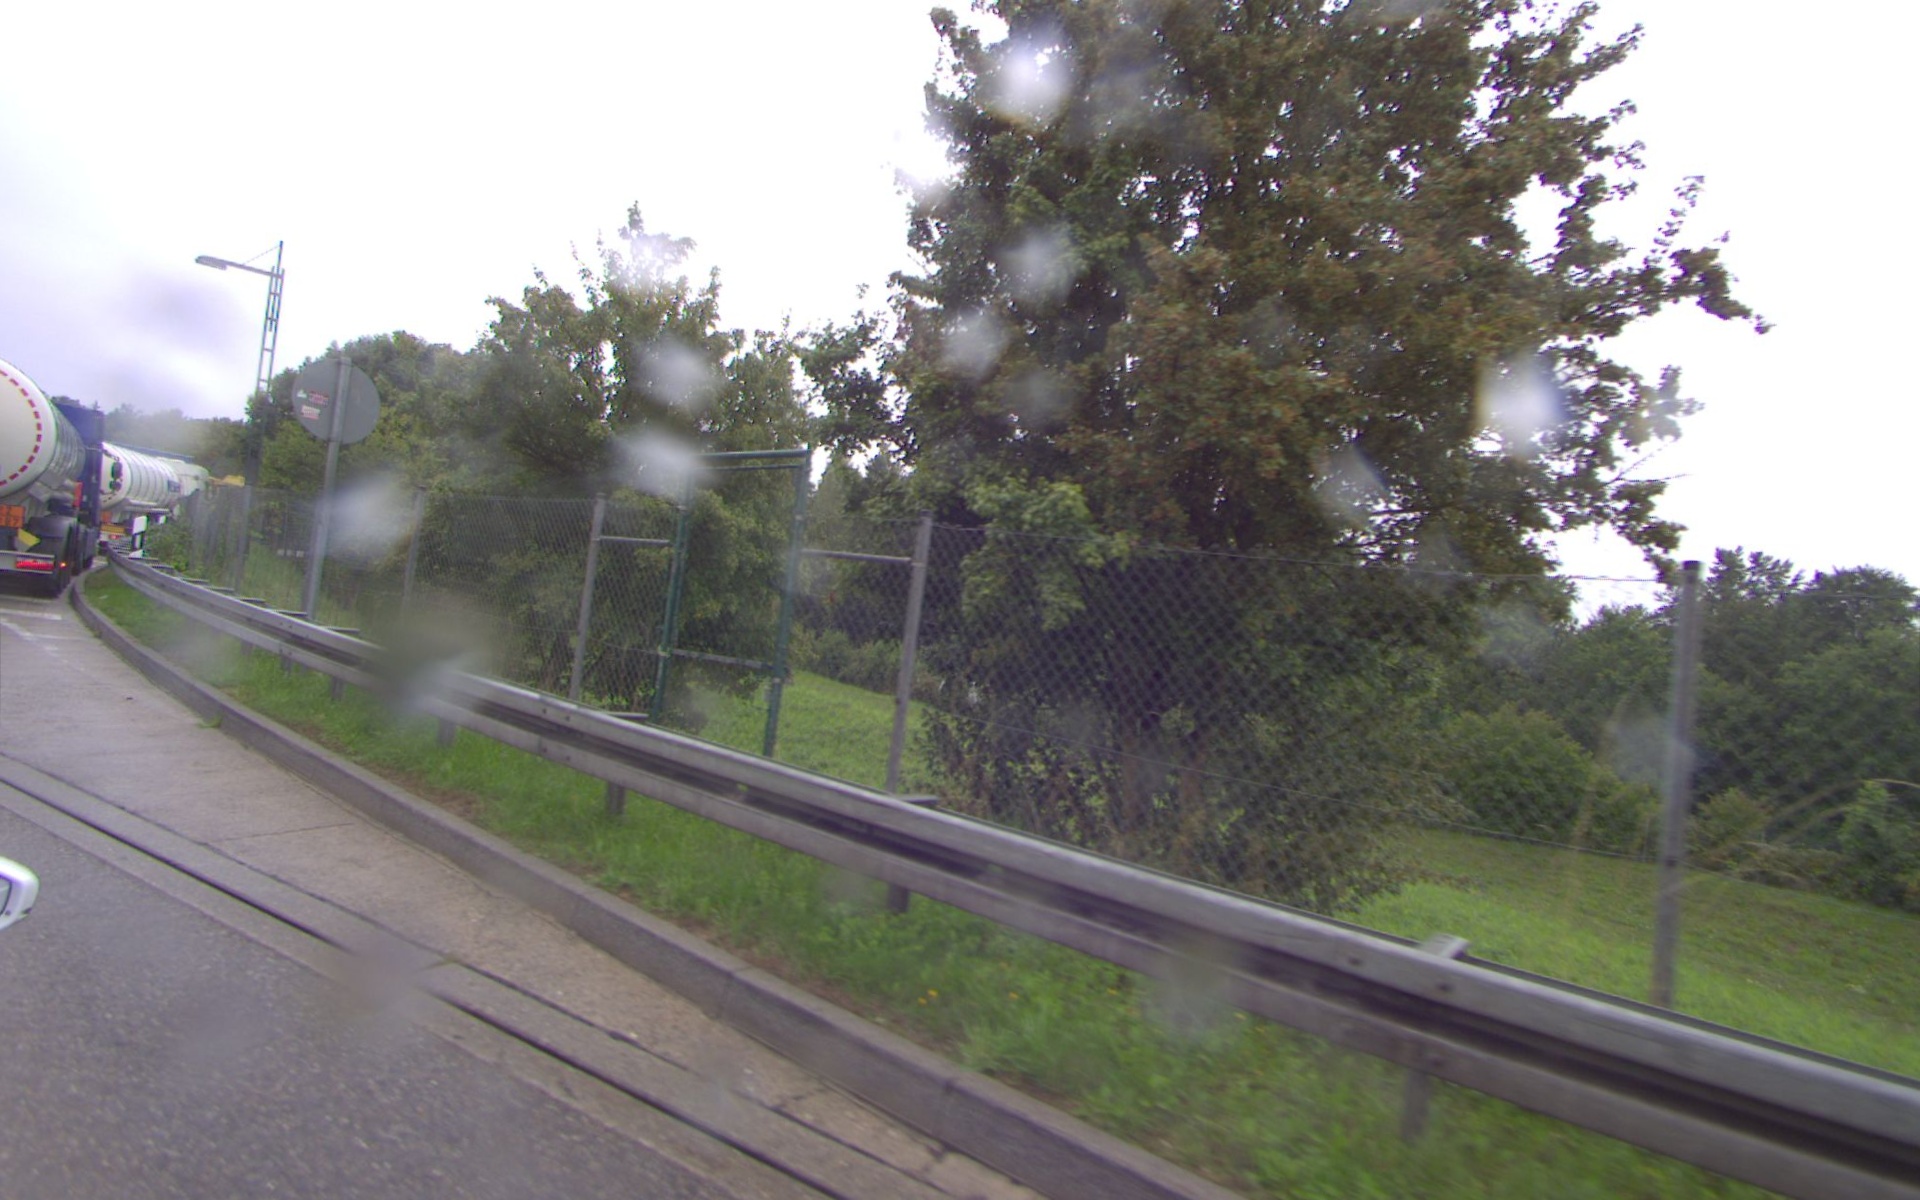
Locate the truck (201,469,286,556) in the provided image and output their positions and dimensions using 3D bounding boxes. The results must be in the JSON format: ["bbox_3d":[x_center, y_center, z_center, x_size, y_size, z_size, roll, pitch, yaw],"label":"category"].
[{"bbox_3d":[-36.326,-4.323,51.121,2.158,3.874,4.122,7,0,-21],"label":"truck"}]

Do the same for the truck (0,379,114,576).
[{"bbox_3d":[-19.616,-2.530,21.305,2.044,3.572,4.696,8,-1,-38],"label":"truck"}]

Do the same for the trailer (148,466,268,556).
[{"bbox_3d":[-34.641,-3.968,46.672,2.160,3.433,7.527,7,-1,-21],"label":"trailer"}]

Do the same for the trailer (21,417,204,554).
[{"bbox_3d":[-27.072,-3.378,32.674,2.114,3.481,10.180,7,-1,-28],"label":"trailer"}]

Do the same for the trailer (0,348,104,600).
[{"bbox_3d":[-16.280,-2.052,17.008,1.971,3.262,10.213,8,-1,-38],"label":"trailer"}]

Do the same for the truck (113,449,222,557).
[{"bbox_3d":[-30.112,-3.579,38.404,2.129,3.555,4.614,7,-1,-28],"label":"truck"}]
